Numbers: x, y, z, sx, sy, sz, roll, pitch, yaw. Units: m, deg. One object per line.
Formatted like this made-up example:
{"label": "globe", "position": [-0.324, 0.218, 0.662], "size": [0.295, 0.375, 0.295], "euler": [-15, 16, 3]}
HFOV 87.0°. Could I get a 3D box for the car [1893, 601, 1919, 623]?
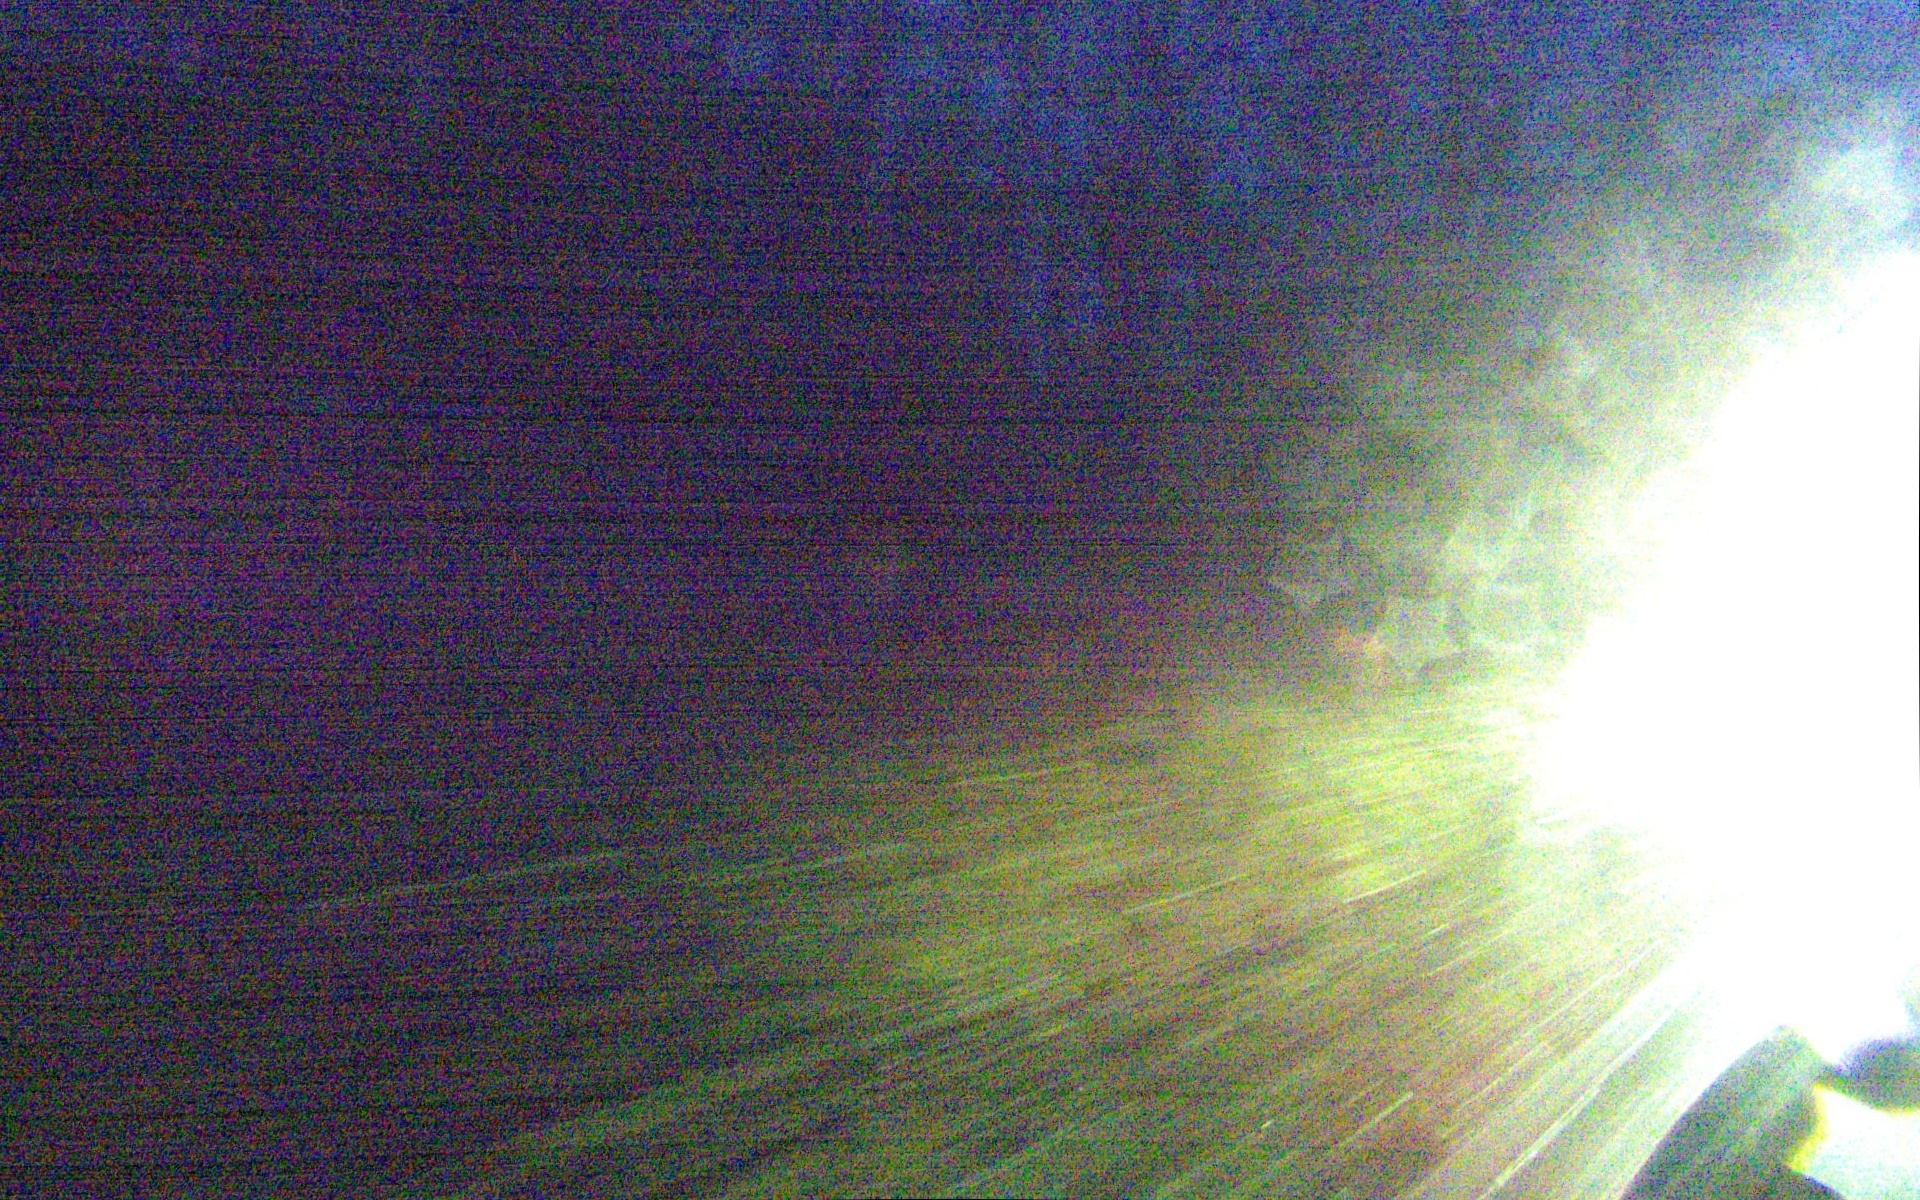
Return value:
{"label": "car", "position": [73.384, 0.901, 78.046], "size": [1.896, 1.580, 3.940], "euler": [5, 3, 41]}
